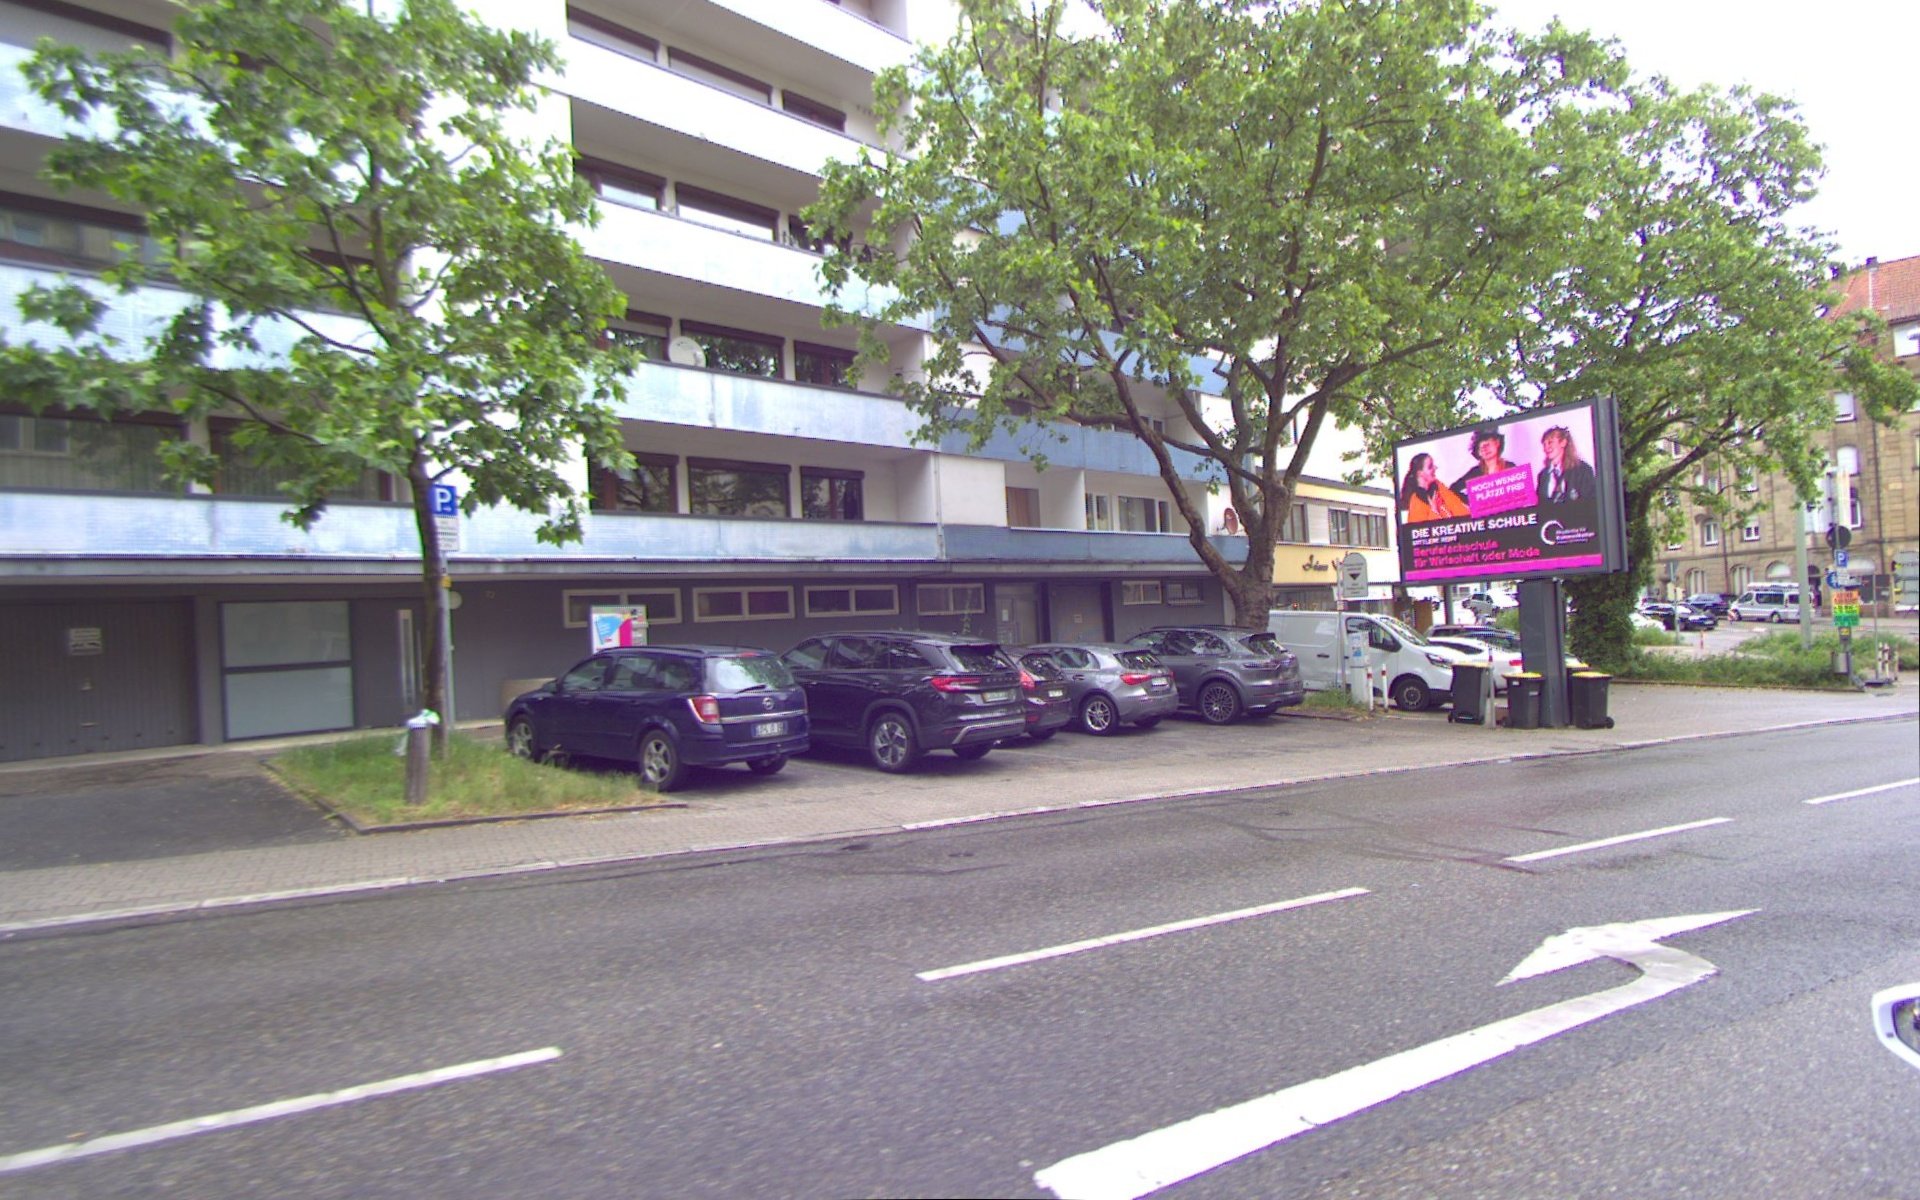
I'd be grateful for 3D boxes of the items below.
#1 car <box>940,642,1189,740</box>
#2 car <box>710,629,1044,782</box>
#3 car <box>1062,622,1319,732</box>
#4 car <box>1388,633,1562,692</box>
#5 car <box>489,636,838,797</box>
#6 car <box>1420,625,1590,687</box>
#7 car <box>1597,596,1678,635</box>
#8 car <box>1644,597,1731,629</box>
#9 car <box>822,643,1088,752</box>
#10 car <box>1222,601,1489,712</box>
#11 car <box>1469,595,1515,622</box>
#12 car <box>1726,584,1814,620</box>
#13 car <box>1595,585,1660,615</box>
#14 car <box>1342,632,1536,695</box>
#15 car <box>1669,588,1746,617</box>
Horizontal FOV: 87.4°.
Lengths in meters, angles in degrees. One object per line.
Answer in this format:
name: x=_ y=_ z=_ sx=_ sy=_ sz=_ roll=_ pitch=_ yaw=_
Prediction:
car: x=1.722 y=1.451 z=17.062 sx=3.870 sy=1.449 sz=1.742 roll=-1 pitch=-2 yaw=36
car: x=-1.196 y=1.230 z=13.232 sx=4.312 sy=1.694 sz=1.847 roll=-1 pitch=-2 yaw=39
car: x=4.209 y=1.334 z=18.720 sx=4.305 sy=1.807 sz=1.930 roll=-1 pitch=-2 yaw=40
car: x=13.920 y=1.632 z=27.261 sx=3.926 sy=1.469 sz=1.761 roll=-1 pitch=-2 yaw=40
car: x=-3.668 y=1.268 z=12.064 sx=4.304 sy=1.595 sz=1.935 roll=-3 pitch=-3 yaw=39
car: x=15.709 y=1.579 z=29.045 sx=4.072 sy=1.675 sz=1.762 roll=-1 pitch=-2 yaw=38
car: x=37.131 y=0.877 z=55.150 sx=1.841 sy=2.040 sz=4.002 roll=0 pitch=-2 yaw=2
car: x=41.635 y=0.736 z=57.628 sx=1.960 sy=1.749 sz=4.250 roll=-1 pitch=0 yaw=2
car: x=-0.133 y=1.421 z=15.641 sx=3.929 sy=1.449 sz=1.692 roll=-1 pitch=-2 yaw=36
car: x=8.414 y=1.166 z=21.681 sx=5.001 sy=2.133 sz=1.983 roll=-1 pitch=-2 yaw=41
car: x=40.952 y=0.691 z=77.408 sx=1.545 sy=2.040 sz=4.001 roll=0 pitch=-1 yaw=2
car: x=50.351 y=0.084 z=62.562 sx=1.961 sy=2.130 sz=4.291 roll=-1 pitch=1 yaw=-1
car: x=49.604 y=-0.026 z=74.715 sx=1.961 sy=2.130 sz=4.291 roll=-1 pitch=1 yaw=-1
car: x=12.022 y=1.538 z=25.365 sx=4.122 sy=1.475 sz=1.786 roll=-1 pitch=-2 yaw=40
car: x=50.149 y=0.127 z=67.531 sx=1.961 sy=1.863 sz=4.291 roll=-1 pitch=1 yaw=-1
